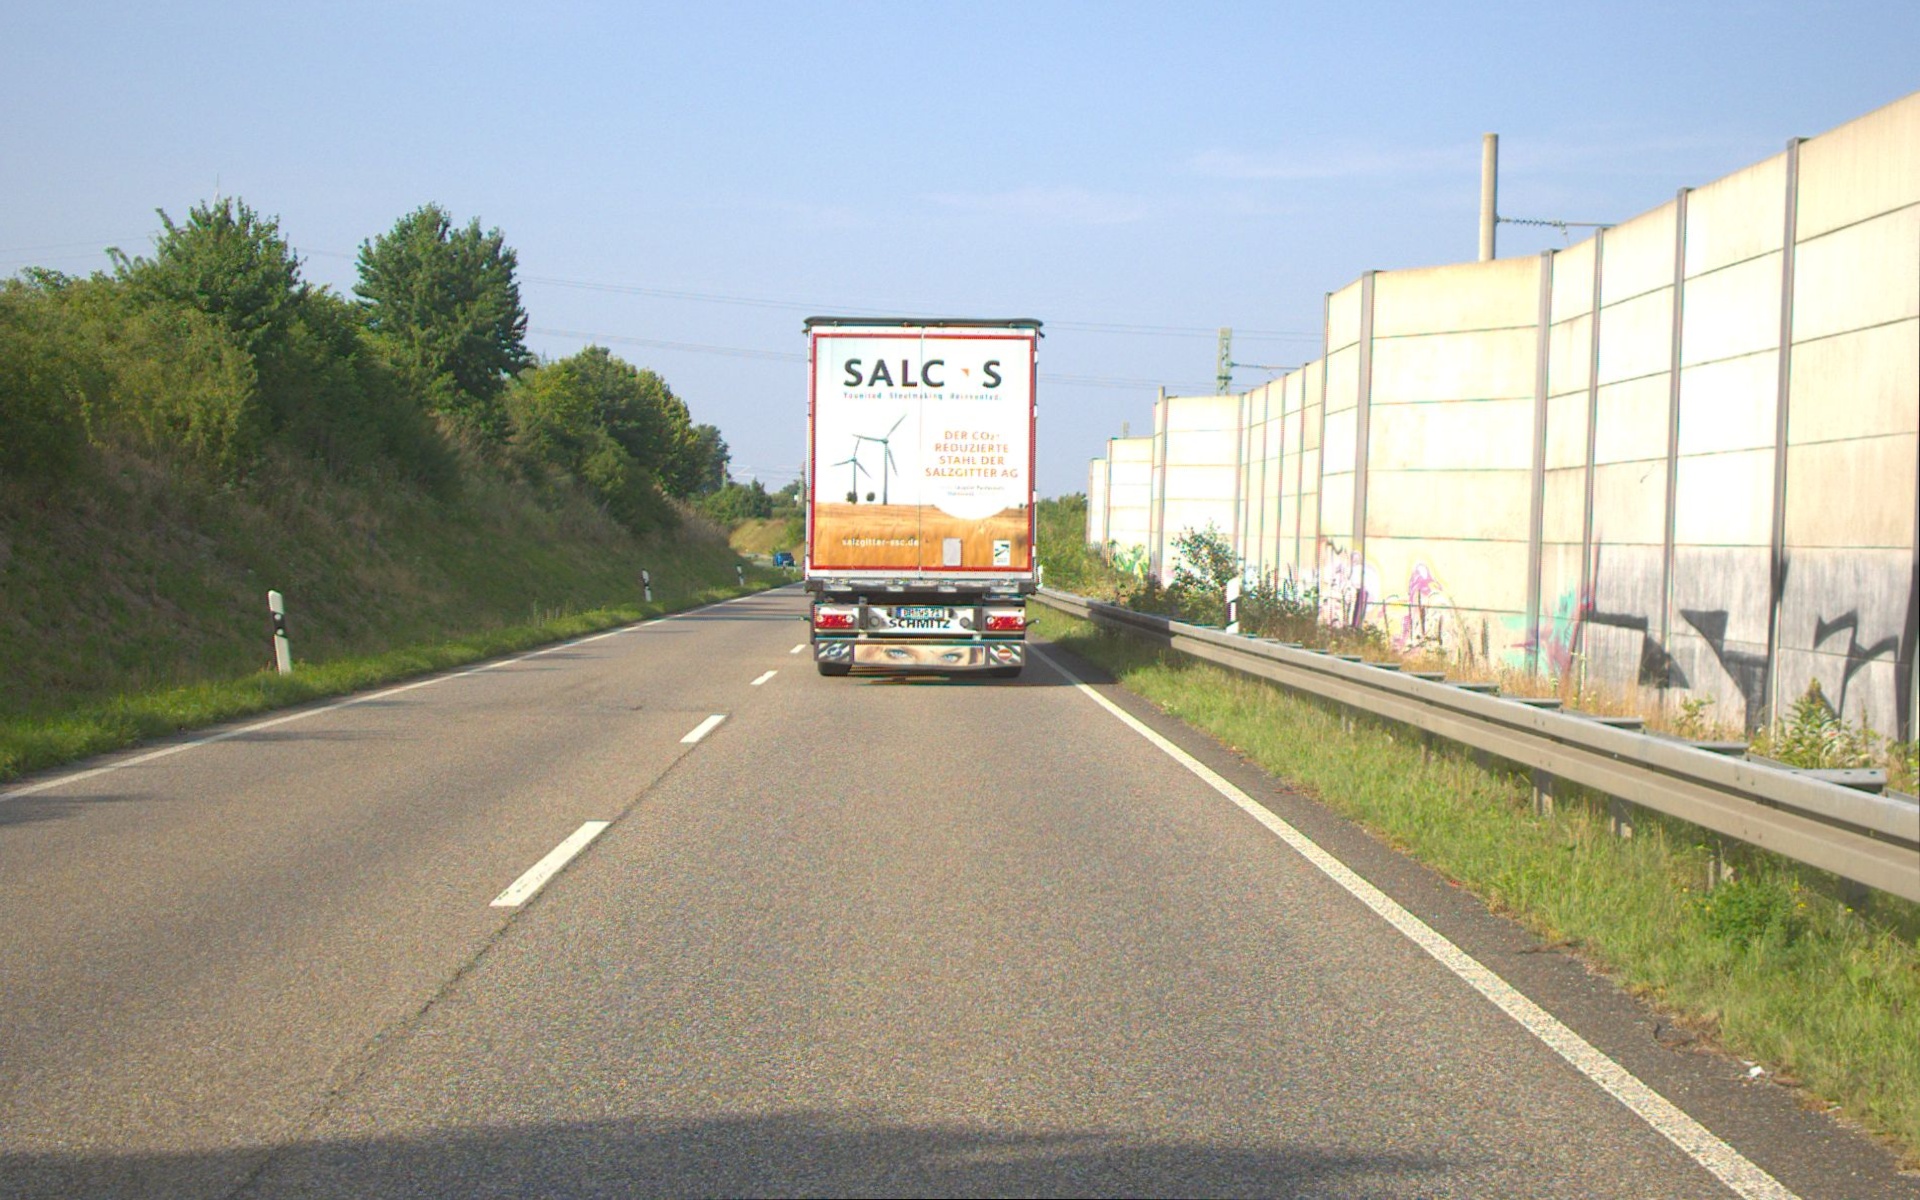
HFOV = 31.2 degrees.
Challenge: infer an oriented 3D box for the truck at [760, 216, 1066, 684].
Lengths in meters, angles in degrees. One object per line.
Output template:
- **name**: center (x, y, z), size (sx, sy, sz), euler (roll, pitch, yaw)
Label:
- **truck**: center (-0.775, -1.782, 43.568), size (3.290, 5.072, 12.039), euler (1, 1, -2)
